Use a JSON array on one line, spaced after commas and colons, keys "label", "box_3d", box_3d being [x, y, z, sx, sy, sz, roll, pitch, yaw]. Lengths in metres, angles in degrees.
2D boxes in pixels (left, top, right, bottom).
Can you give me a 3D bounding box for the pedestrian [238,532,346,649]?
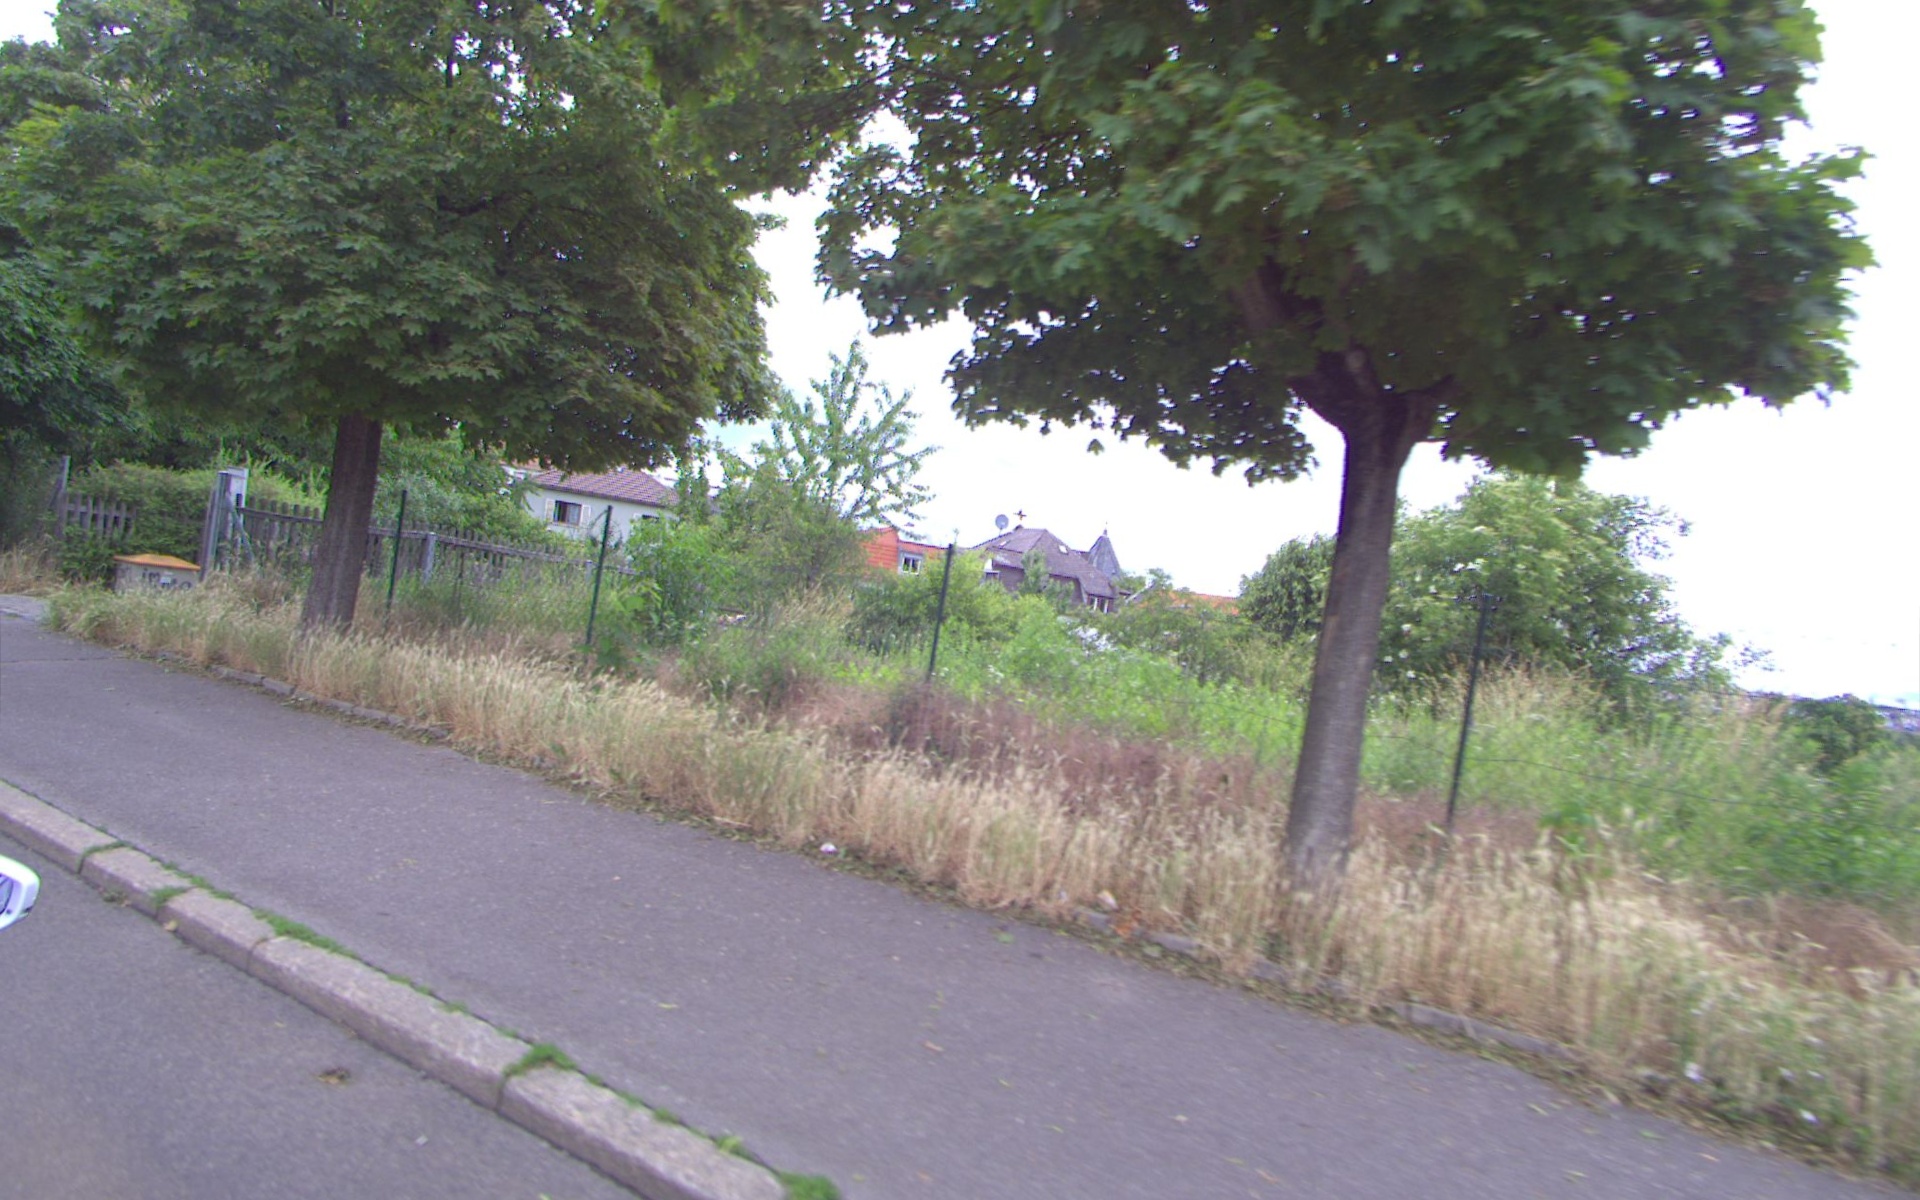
[{"label": "pedestrian", "box_3d": [-8.305, -0.111, 12.508, 0.794, 1.325, 0.746, 7, 1, 30]}]
